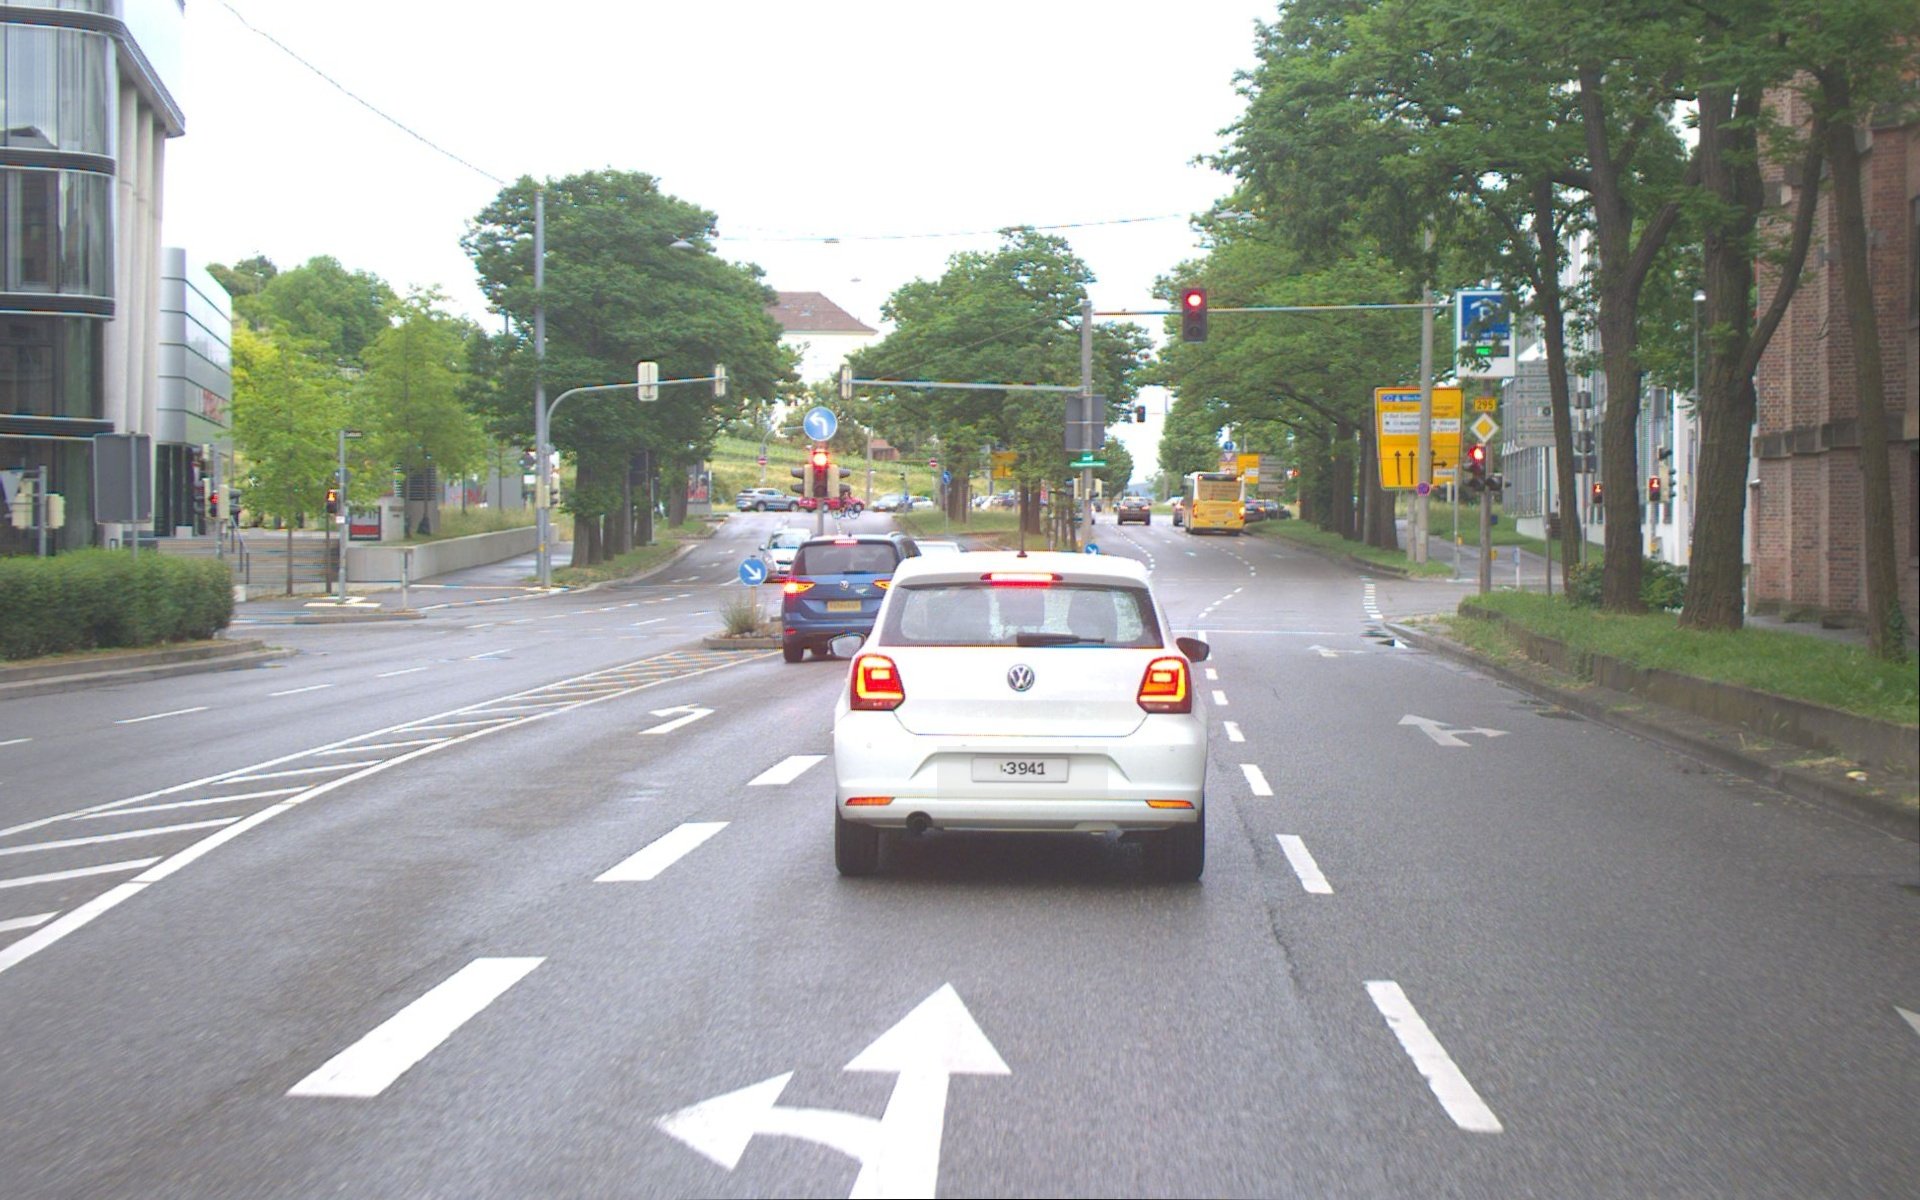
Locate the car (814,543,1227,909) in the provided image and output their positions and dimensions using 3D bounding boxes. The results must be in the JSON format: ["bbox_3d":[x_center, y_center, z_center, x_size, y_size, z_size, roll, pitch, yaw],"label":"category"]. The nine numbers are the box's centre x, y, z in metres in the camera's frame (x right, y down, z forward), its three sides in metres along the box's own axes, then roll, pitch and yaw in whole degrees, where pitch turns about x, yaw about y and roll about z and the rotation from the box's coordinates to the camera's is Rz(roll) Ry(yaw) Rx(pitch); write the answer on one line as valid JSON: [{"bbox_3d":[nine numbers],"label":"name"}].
[{"bbox_3d":[0.255,0.482,15.929,1.671,1.469,3.779,1,1,0],"label":"car"}]

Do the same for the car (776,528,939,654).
[{"bbox_3d":[-1.294,-0.150,44.981,1.993,1.568,4.000,0,1,0],"label":"car"}]

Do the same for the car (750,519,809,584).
[{"bbox_3d":[-5.359,-1.427,102.340,1.663,1.788,3.402,-2,-1,-2],"label":"car"}]
